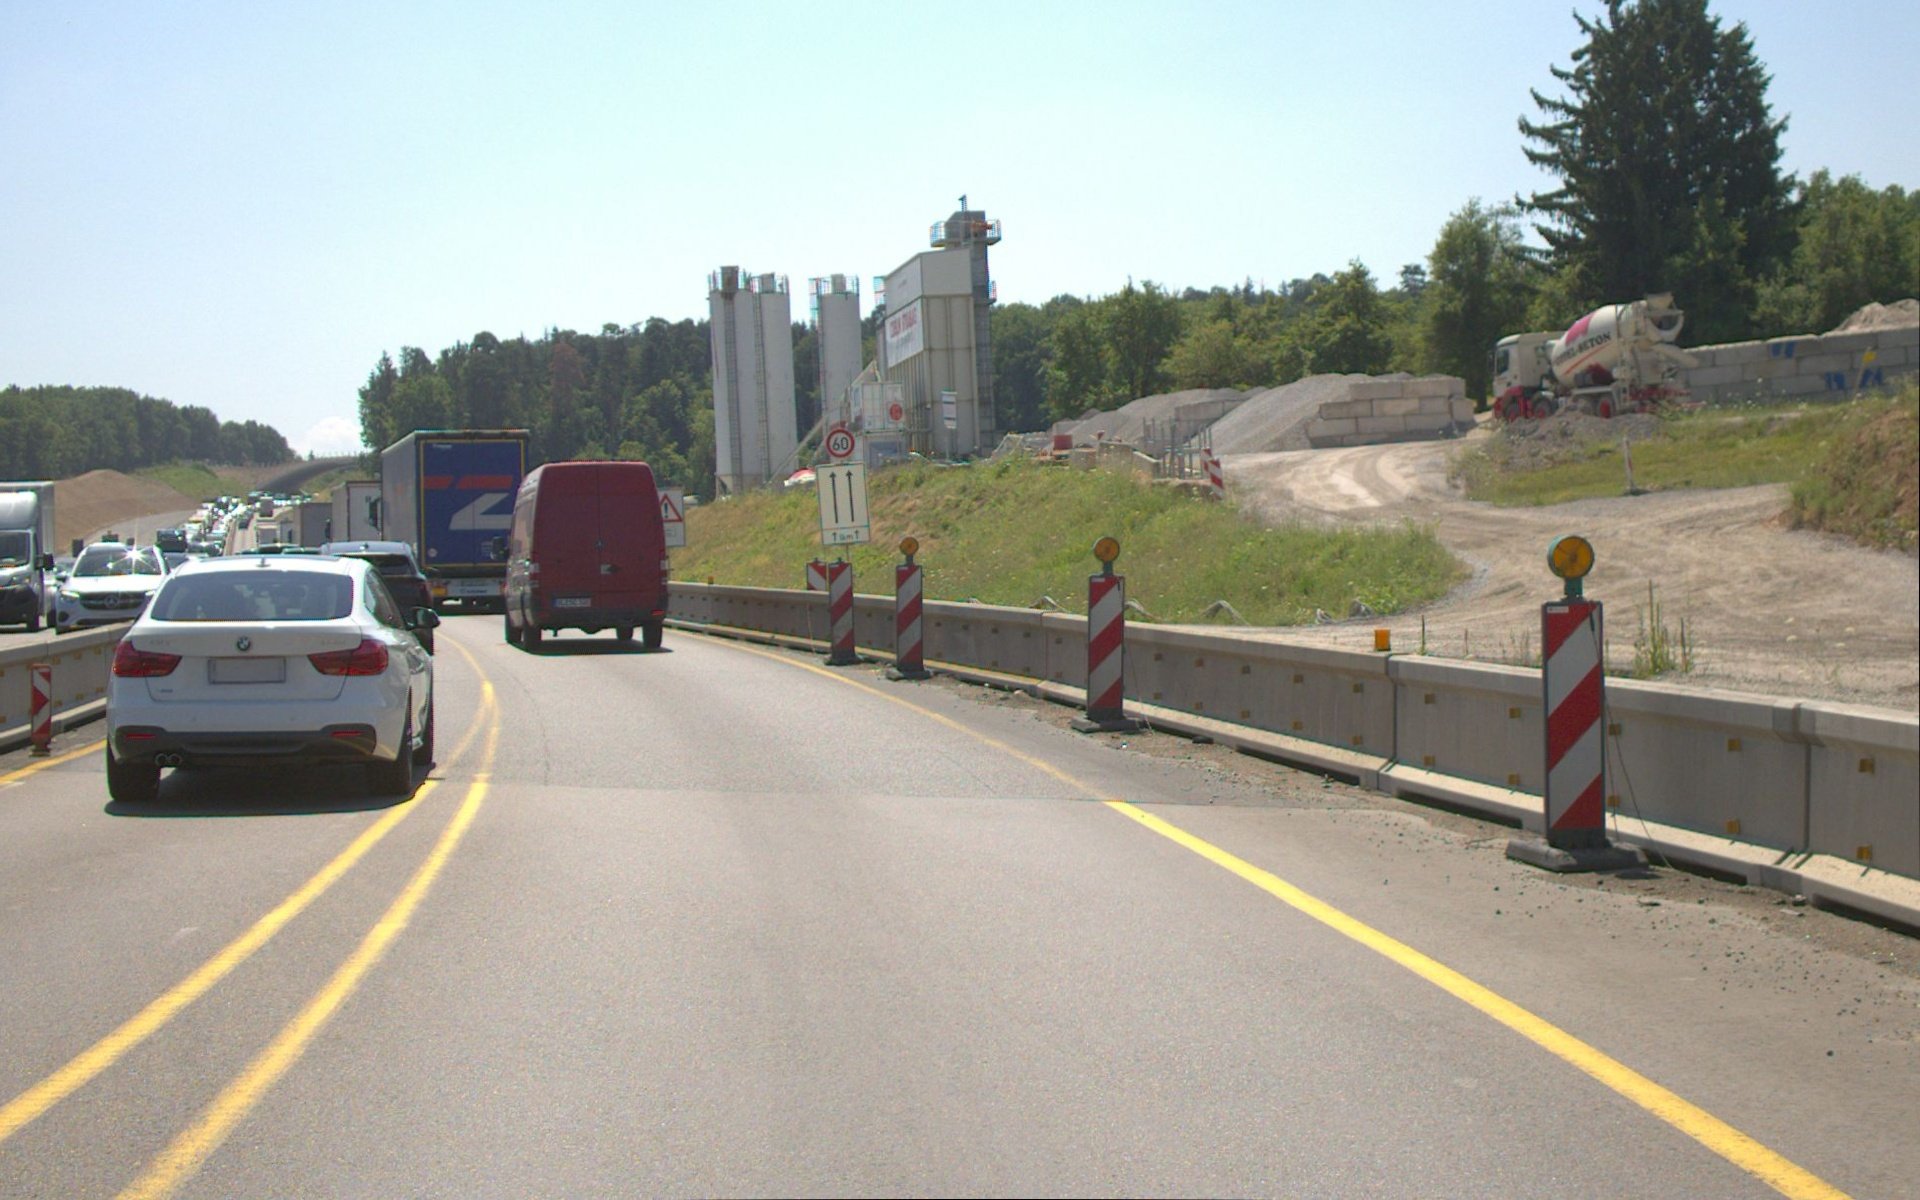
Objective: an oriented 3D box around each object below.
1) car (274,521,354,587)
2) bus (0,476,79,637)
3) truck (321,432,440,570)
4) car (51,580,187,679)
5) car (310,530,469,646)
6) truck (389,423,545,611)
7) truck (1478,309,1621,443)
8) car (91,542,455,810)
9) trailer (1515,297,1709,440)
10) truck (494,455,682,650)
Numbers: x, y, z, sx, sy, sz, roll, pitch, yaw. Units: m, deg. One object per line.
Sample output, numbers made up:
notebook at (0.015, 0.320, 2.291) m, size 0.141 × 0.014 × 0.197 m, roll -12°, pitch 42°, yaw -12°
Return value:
car at (-16.252, -1.163, 86.608) m, size 1.801 × 1.574 × 4.001 m, roll -2°, pitch 1°, yaw -9°
bus at (-19.617, -0.882, 70.168) m, size 2.349 × 3.115 × 7.231 m, roll -2°, pitch 1°, yaw -9°
truck at (-20.893, -3.536, 124.461) m, size 3.683 × 4.675 × 9.755 m, roll -2°, pitch 1°, yaw -7°
car at (-14.097, 0.464, 57.830) m, size 1.795 × 1.470 × 4.779 m, roll -2°, pitch 1°, yaw -9°
car at (-8.094, -0.207, 49.076) m, size 1.795 × 1.529 × 3.932 m, roll -2°, pitch 1°, yaw -4°
truck at (-11.748, -1.945, 81.300) m, size 3.015 × 4.138 × 8.275 m, roll -2°, pitch 1°, yaw -12°
truck at (19.042, -7.220, 111.190) m, size 2.744 × 4.081 × 4.101 m, roll -2°, pitch 1°, yaw -21°
car at (-4.380, 0.397, 22.606) m, size 1.795 × 1.529 × 5.074 m, roll 0°, pitch 1°, yaw -5°
trailer at (20.346, -7.195, 107.745) m, size 2.755 × 4.100 × 6.747 m, roll -2°, pitch 1°, yaw -21°
truck at (-5.567, -0.716, 50.668) m, size 2.111 × 2.624 × 6.486 m, roll -2°, pitch 1°, yaw -11°
